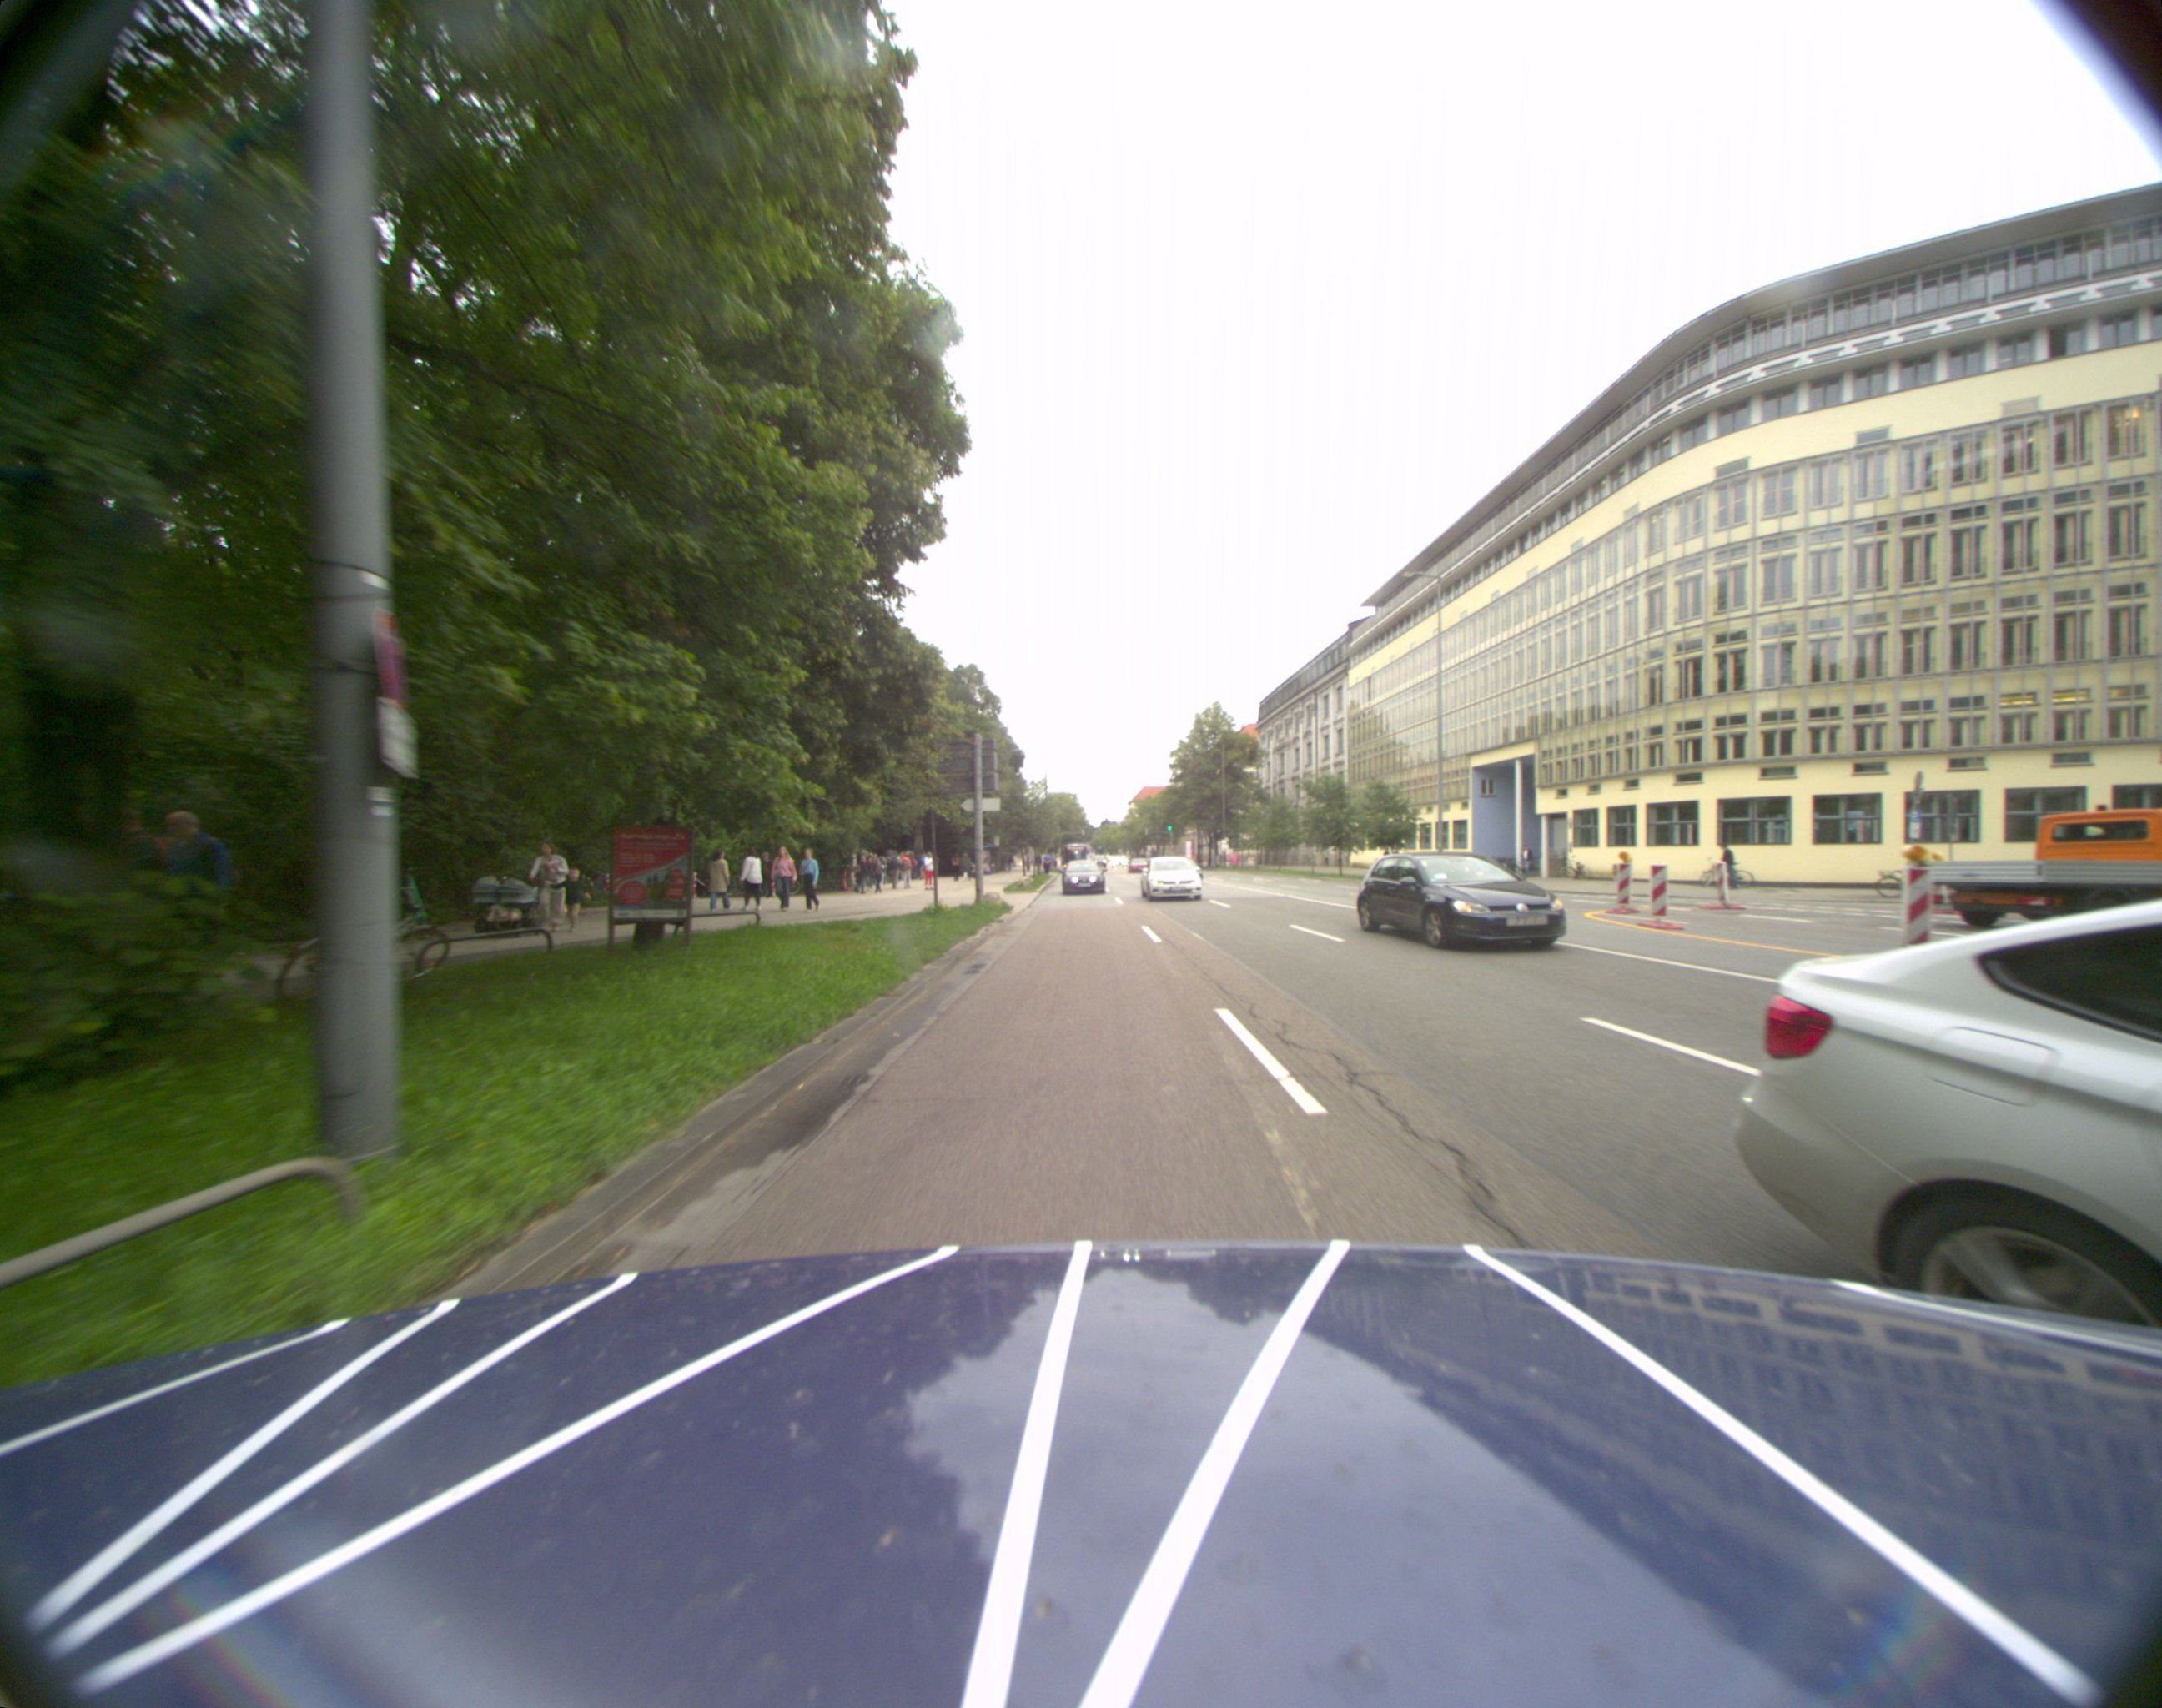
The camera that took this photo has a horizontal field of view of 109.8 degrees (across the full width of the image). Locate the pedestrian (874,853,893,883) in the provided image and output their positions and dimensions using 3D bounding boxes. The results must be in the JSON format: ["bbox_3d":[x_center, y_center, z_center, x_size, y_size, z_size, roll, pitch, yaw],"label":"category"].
[{"bbox_3d":[-11.027,0.764,42.467,0.814,1.681,0.729,-1,1,2],"label":"pedestrian"}]

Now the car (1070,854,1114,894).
[{"bbox_3d":[0.429,0.824,33.325,1.797,1.627,4.274,-1,0,-1],"label":"car"}]

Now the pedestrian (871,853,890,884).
[{"bbox_3d":[-11.011,0.798,41.677,0.814,1.681,0.729,0,1,2],"label":"pedestrian"}]

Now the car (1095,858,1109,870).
[{"bbox_3d":[2.687,1.311,98.988,1.638,1.562,3.945,0,0,0],"label":"car"}]

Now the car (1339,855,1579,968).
[{"bbox_3d":[5.875,0.777,12.484,1.696,1.507,4.338,0,0,-1],"label":"car"}]

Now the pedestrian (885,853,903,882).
[{"bbox_3d":[-10.898,0.797,44.226,0.814,1.681,0.729,1,1,2],"label":"pedestrian"}]

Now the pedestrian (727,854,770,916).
[{"bbox_3d":[-8.969,0.837,20.517,0.755,1.634,0.651,-2,1,15],"label":"pedestrian"}]

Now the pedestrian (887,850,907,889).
[{"bbox_3d":[-8.834,0.735,36.525,0.610,1.862,0.694,-2,1,16],"label":"pedestrian"}]

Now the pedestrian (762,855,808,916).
[{"bbox_3d":[-8.061,0.848,20.738,0.755,1.634,0.851,-2,1,15],"label":"pedestrian"}]

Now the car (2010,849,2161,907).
[{"bbox_3d":[32.550,0.725,23.567,4.318,1.739,1.874,0,0,28],"label":"car"}]

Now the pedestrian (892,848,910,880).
[{"bbox_3d":[-11.011,0.624,46.504,0.814,1.905,0.729,-2,1,2],"label":"pedestrian"}]

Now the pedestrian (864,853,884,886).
[{"bbox_3d":[-11.076,0.823,40.692,0.814,1.681,0.729,-2,1,2],"label":"pedestrian"}]

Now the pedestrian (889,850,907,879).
[{"bbox_3d":[-11.023,0.637,45.786,0.814,1.681,0.729,-2,1,2],"label":"pedestrian"}]

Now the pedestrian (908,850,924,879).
[{"bbox_3d":[-10.732,0.685,49.447,0.814,1.841,0.729,-2,1,2],"label":"pedestrian"}]

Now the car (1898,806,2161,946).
[{"bbox_3d":[19.980,0.386,14.994,5.697,2.521,2.155,0,0,-4],"label":"car"}]

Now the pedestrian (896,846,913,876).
[{"bbox_3d":[-10.955,0.436,47.259,0.814,1.863,0.729,-2,1,2],"label":"pedestrian"}]

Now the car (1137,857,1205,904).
[{"bbox_3d":[3.055,0.849,26.498,1.797,1.439,4.274,-1,0,-1],"label":"car"}]

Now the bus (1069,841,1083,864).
[{"bbox_3d":[-0.592,-0.157,89.350,1.638,2.570,6.701,0,0,0],"label":"bus"}]

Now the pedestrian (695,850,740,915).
[{"bbox_3d":[-9.510,0.736,19.892,0.755,1.634,0.691,-2,1,15],"label":"pedestrian"}]

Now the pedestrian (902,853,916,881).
[{"bbox_3d":[-10.268,0.770,45.295,0.593,1.681,0.729,-2,1,2],"label":"pedestrian"}]

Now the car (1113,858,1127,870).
[{"bbox_3d":[5.267,1.301,102.855,1.638,1.562,3.945,0,0,0],"label":"car"}]

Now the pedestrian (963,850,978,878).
[{"bbox_3d":[-6.846,0.632,46.973,0.728,1.681,0.648,-2,1,5],"label":"pedestrian"}]

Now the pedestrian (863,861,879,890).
[{"bbox_3d":[-9.674,0.970,35.031,0.459,1.319,0.648,-2,1,5],"label":"pedestrian"}]

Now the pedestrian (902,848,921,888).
[{"bbox_3d":[-8.275,0.692,37.119,0.610,1.903,0.694,-2,1,16],"label":"pedestrian"}]

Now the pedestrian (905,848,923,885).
[{"bbox_3d":[-8.667,0.642,39.385,0.610,1.862,0.694,-2,1,16],"label":"pedestrian"}]

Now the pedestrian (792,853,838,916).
[{"bbox_3d":[-7.126,0.818,20.374,0.755,1.634,0.851,-2,1,15],"label":"pedestrian"}]

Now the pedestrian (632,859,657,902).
[{"bbox_3d":[-18.062,1.091,31.446,0.610,1.753,0.552,-2,1,22],"label":"pedestrian"}]

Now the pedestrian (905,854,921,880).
[{"bbox_3d":[-10.750,0.834,48.723,0.814,1.681,0.673,-2,1,2],"label":"pedestrian"}]

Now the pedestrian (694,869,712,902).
[{"bbox_3d":[-16.916,1.420,34.033,0.407,1.465,0.519,-2,1,22],"label":"pedestrian"}]

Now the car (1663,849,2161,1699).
[{"bbox_3d":[2.998,0.822,0.203,1.797,1.627,5.025,-1,0,-1],"label":"car"}]

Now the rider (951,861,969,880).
[{"bbox_3d":[-7.527,1.005,47.293,0.766,1.105,1.244,-2,0,5],"label":"rider"}]

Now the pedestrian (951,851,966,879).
[{"bbox_3d":[-7.597,0.670,47.042,0.728,1.681,0.648,-2,1,5],"label":"pedestrian"}]

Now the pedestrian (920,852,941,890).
[{"bbox_3d":[-6.908,0.776,34.933,0.728,1.681,0.648,-2,1,5],"label":"pedestrian"}]

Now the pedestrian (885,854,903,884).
[{"bbox_3d":[-11.066,0.864,45.027,0.814,1.729,0.729,-2,1,2],"label":"pedestrian"}]
